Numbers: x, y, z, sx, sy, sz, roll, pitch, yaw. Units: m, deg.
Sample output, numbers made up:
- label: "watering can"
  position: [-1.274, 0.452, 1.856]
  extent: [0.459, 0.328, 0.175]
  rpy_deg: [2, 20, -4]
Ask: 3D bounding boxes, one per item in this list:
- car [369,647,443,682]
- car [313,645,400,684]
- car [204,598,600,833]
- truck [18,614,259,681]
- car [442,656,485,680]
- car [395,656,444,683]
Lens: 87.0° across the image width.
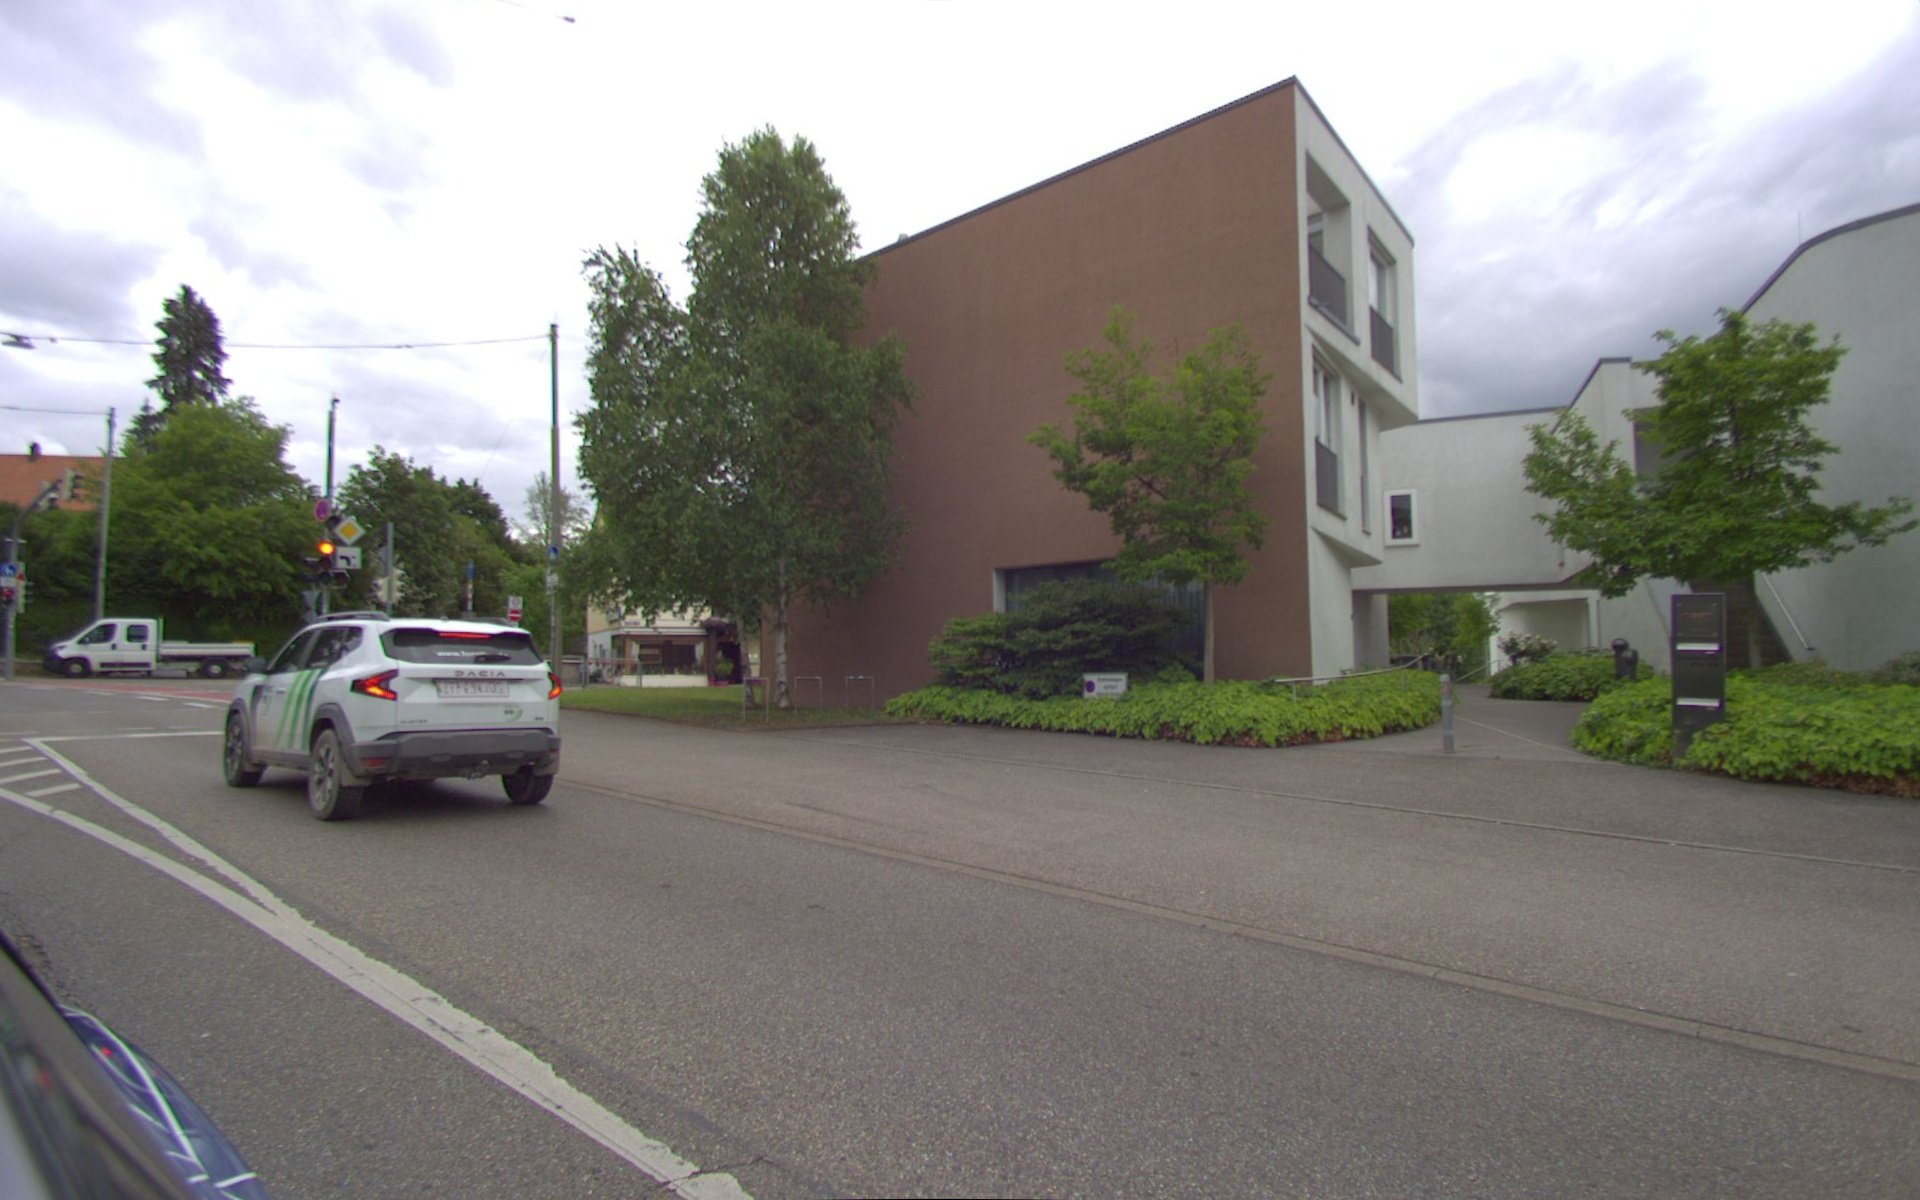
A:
- label: "car"
  position: [-27.556, 3.209, 50.485]
  extent: [1.968, 1.625, 4.008]
  rpy_deg: [2, -4, -10]
- label: "car"
  position: [-26.699, 2.874, 44.935]
  extent: [1.968, 1.625, 4.008]
  rpy_deg: [2, -4, -10]
- label: "car"
  position: [-5.233, 0.936, 9.240]
  extent: [4.300, 1.650, 1.750]
  rpy_deg: [-2, -6, 42]
- label: "truck"
  position: [-30.091, 1.811, 37.431]
  extent: [6.609, 2.205, 2.535]
  rpy_deg: [4, -4, -38]
- label: "car"
  position: [-34.417, 4.673, 70.250]
  extent: [1.841, 1.599, 3.740]
  rpy_deg: [2, -4, -14]
- label: "car"
  position: [-29.854, 3.815, 55.965]
  extent: [1.840, 1.464, 3.742]
  rpy_deg: [1, -3, -20]
